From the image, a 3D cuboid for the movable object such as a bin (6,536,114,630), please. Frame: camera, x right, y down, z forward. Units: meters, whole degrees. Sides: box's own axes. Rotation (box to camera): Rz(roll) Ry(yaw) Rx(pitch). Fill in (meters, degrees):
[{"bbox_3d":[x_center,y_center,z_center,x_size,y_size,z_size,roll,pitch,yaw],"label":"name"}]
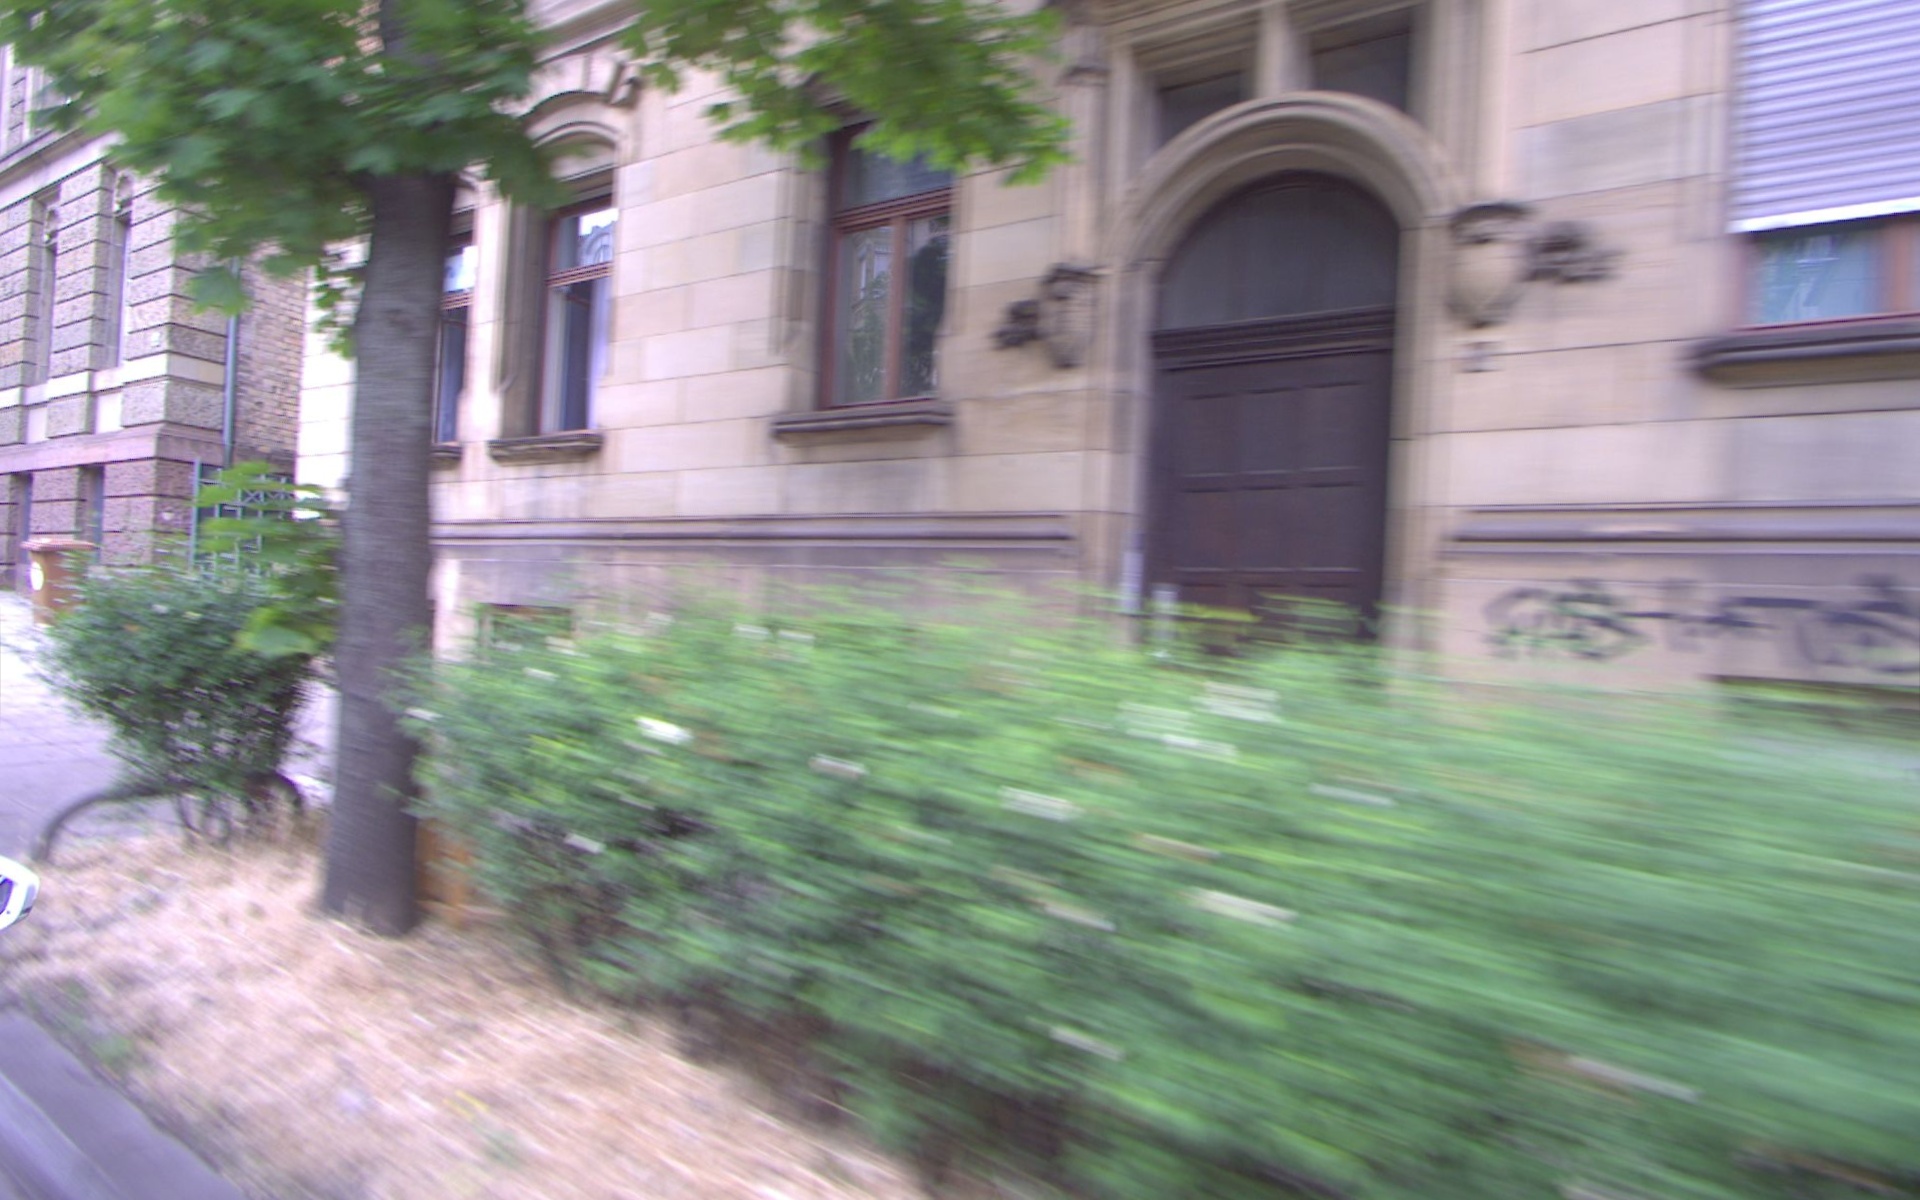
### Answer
[{"bbox_3d":[-9.518,-0.173,10.641,0.572,0.909,0.671,9,4,29],"label":"movable object such as a bin"}]
